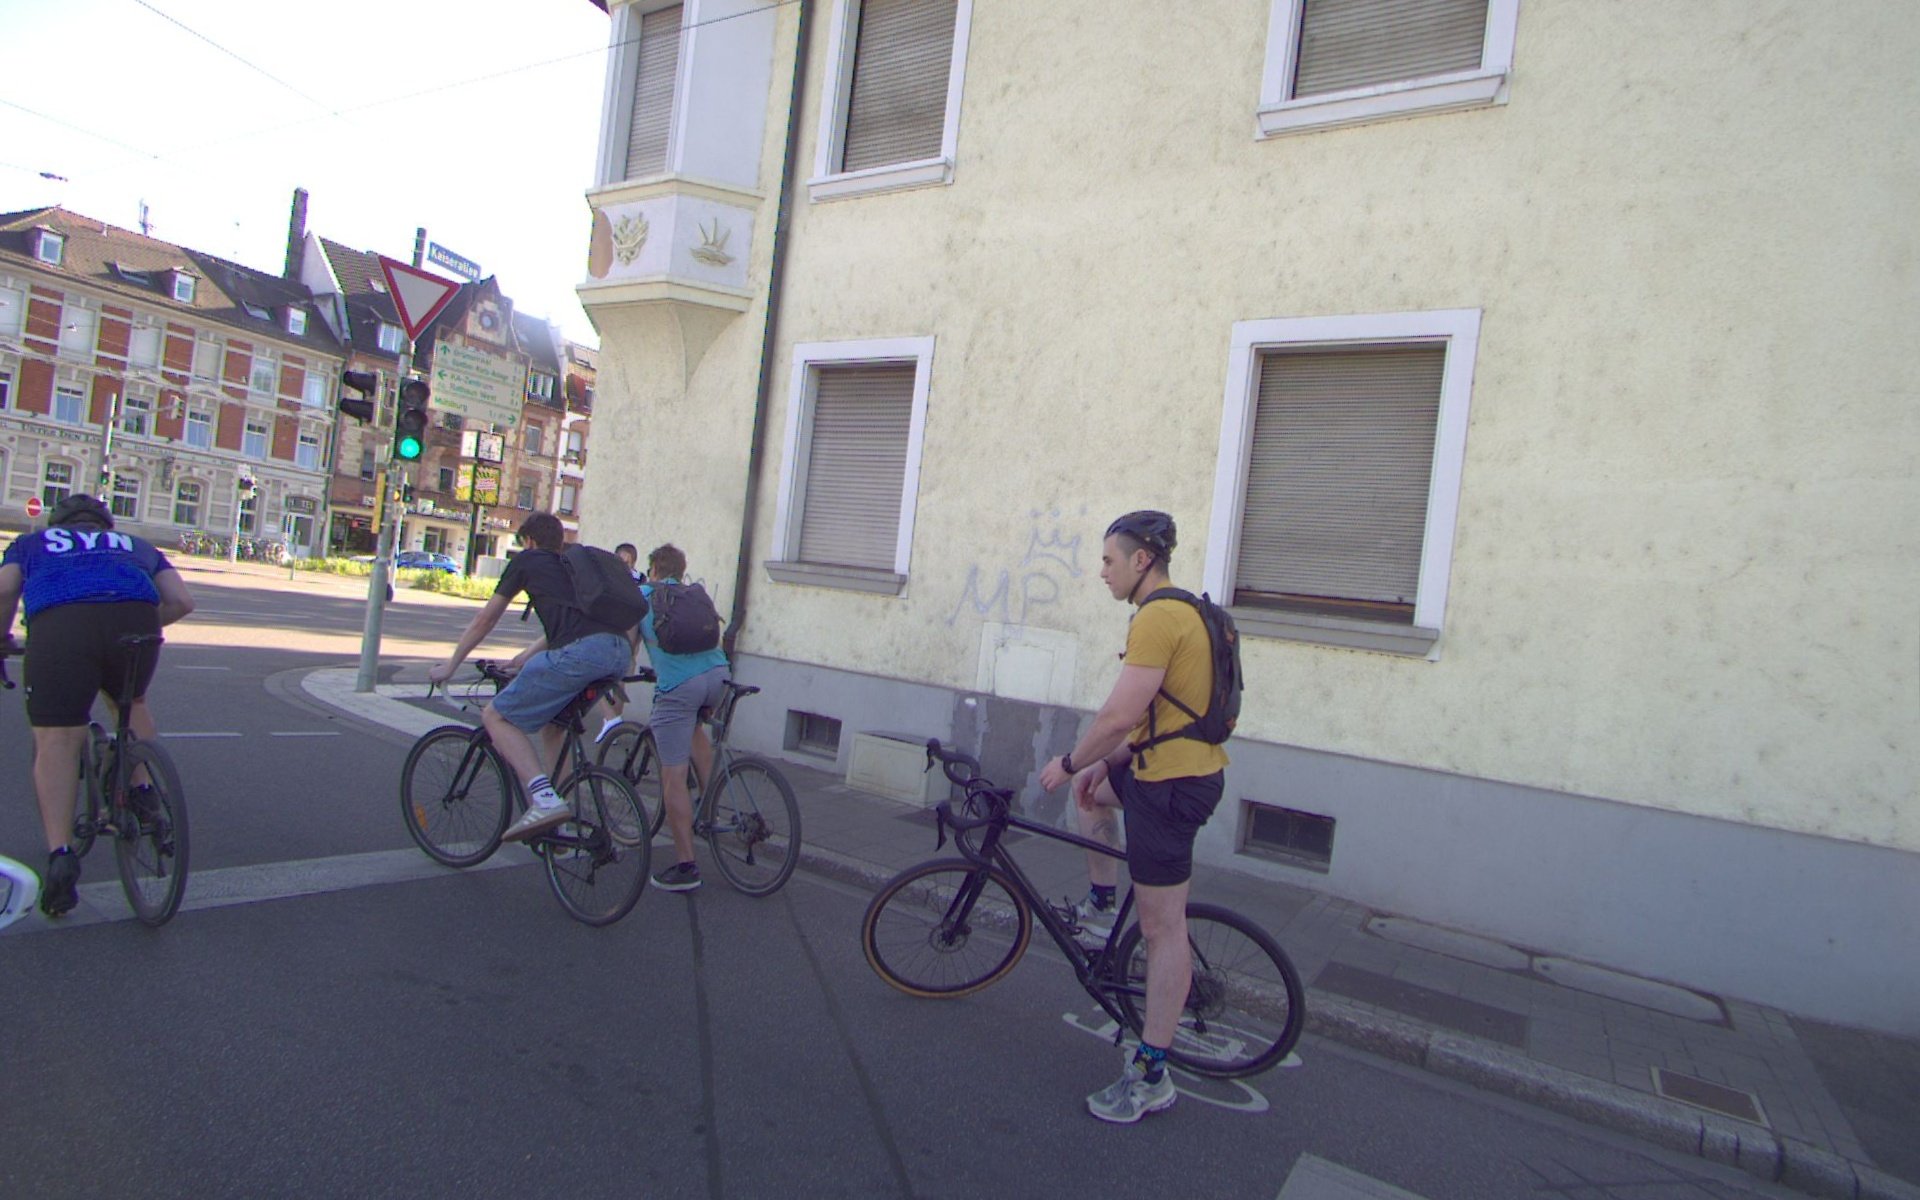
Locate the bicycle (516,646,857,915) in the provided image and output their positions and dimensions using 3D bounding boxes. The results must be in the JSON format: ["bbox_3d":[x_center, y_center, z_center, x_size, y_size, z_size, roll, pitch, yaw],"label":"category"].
[{"bbox_3d":[-1.493,0.882,5.371,1.742,1.043,0.650,6,-1,33],"label":"bicycle"}]

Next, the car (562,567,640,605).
[{"bbox_3d":[-23.250,-0.875,65.287,1.967,1.798,4.374,6,-2,31],"label":"car"}]

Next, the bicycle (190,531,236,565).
[{"bbox_3d":[-34.204,-2.374,46.067,2.618,1.301,0.693,6,-1,33],"label":"bicycle"}]

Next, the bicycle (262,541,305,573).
[{"bbox_3d":[-32.685,-2.073,48.582,2.618,1.301,0.629,6,-1,33],"label":"bicycle"}]

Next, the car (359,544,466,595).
[{"bbox_3d":[-25.474,-1.394,46.906,1.967,1.798,3.790,6,-2,31],"label":"car"}]

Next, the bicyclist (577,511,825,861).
[{"bbox_3d":[-1.371,0.426,5.352,0.869,1.652,0.690,6,-1,34],"label":"bicyclist"}]

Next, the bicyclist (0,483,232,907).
[{"bbox_3d":[-3.592,0.340,4.081,0.869,1.512,0.639,9,0,36],"label":"bicyclist"}]

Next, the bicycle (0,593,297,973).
[{"bbox_3d":[-3.389,0.605,3.951,1.676,1.097,0.627,6,-1,35],"label":"bicycle"}]

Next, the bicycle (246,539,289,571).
[{"bbox_3d":[-33.054,-2.153,47.993,2.618,1.301,0.629,6,-1,33],"label":"bicycle"}]

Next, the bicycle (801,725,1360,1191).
[{"bbox_3d":[0.392,1.107,3.634,1.751,1.043,0.756,6,-2,33],"label":"bicycle"}]

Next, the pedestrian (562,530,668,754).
[{"bbox_3d":[-2.874,0.338,8.425,0.631,1.780,0.584,4,3,-7],"label":"pedestrian"}]

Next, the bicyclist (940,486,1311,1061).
[{"bbox_3d":[0.606,0.525,3.551,0.869,1.682,0.807,6,-1,32],"label":"bicyclist"}]

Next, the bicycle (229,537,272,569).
[{"bbox_3d":[-33.421,-2.217,47.363,2.618,1.301,0.629,6,-1,33],"label":"bicycle"}]

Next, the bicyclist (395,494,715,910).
[{"bbox_3d":[-1.813,0.418,4.563,0.868,1.625,0.807,6,-1,30],"label":"bicyclist"}]

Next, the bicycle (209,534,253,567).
[{"bbox_3d":[-33.837,-2.308,46.691,2.618,1.301,0.629,6,-1,33],"label":"bicycle"}]

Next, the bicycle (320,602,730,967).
[{"bbox_3d":[-2.015,0.744,4.618,1.674,1.251,0.756,6,-1,30],"label":"bicycle"}]

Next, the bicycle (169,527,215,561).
[{"bbox_3d":[-34.648,-2.524,45.364,2.618,1.301,0.693,6,-1,33],"label":"bicycle"}]
